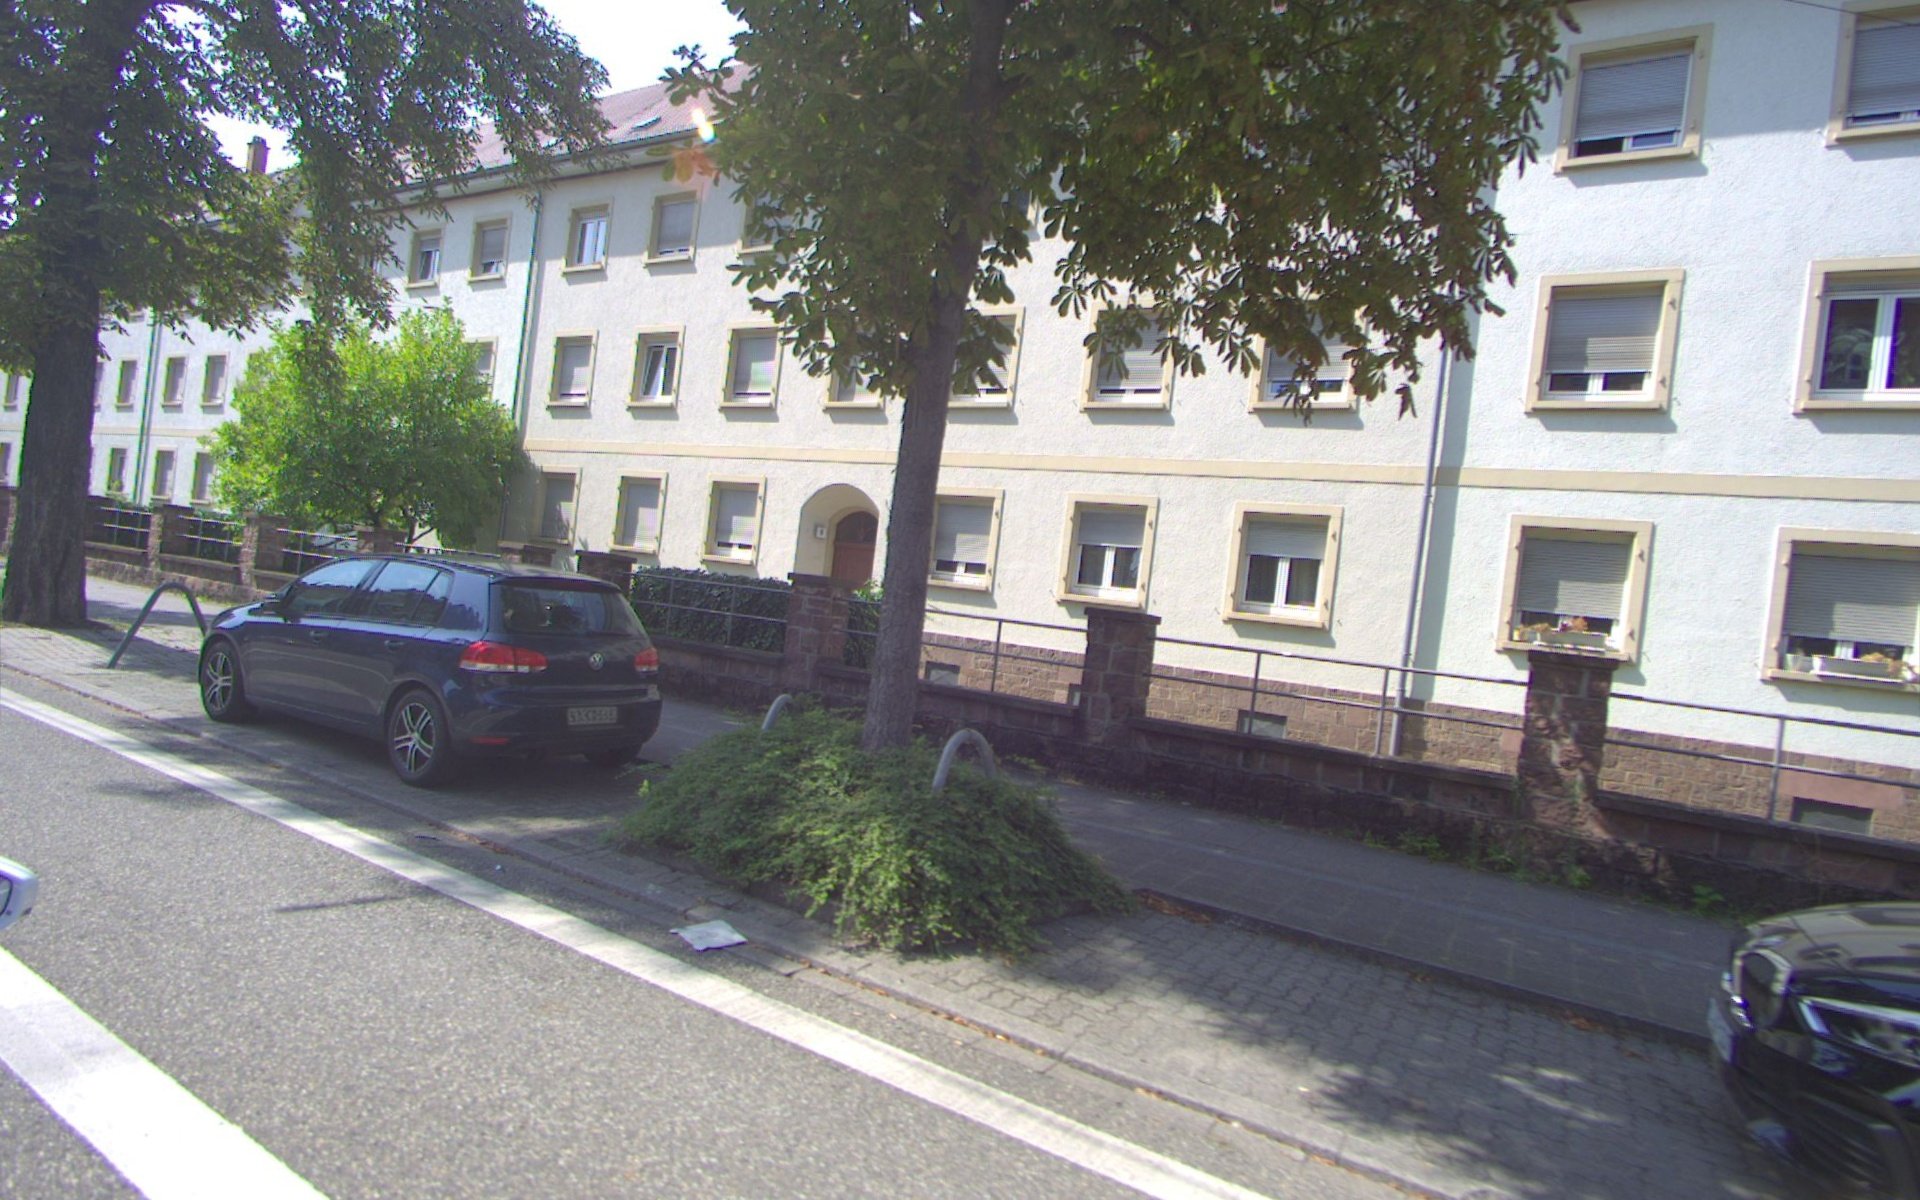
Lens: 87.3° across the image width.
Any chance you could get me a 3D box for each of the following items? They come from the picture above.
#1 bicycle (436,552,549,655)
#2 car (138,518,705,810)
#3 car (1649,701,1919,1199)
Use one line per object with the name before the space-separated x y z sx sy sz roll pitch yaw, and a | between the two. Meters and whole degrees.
bicycle | -7.017 0.035 15.055 1.860 1.350 0.456 6 0 31
car | -4.260 0.357 7.787 4.312 1.495 1.758 6 -1 30
car | 4.535 1.357 2.534 4.383 1.497 1.755 6 3 31
